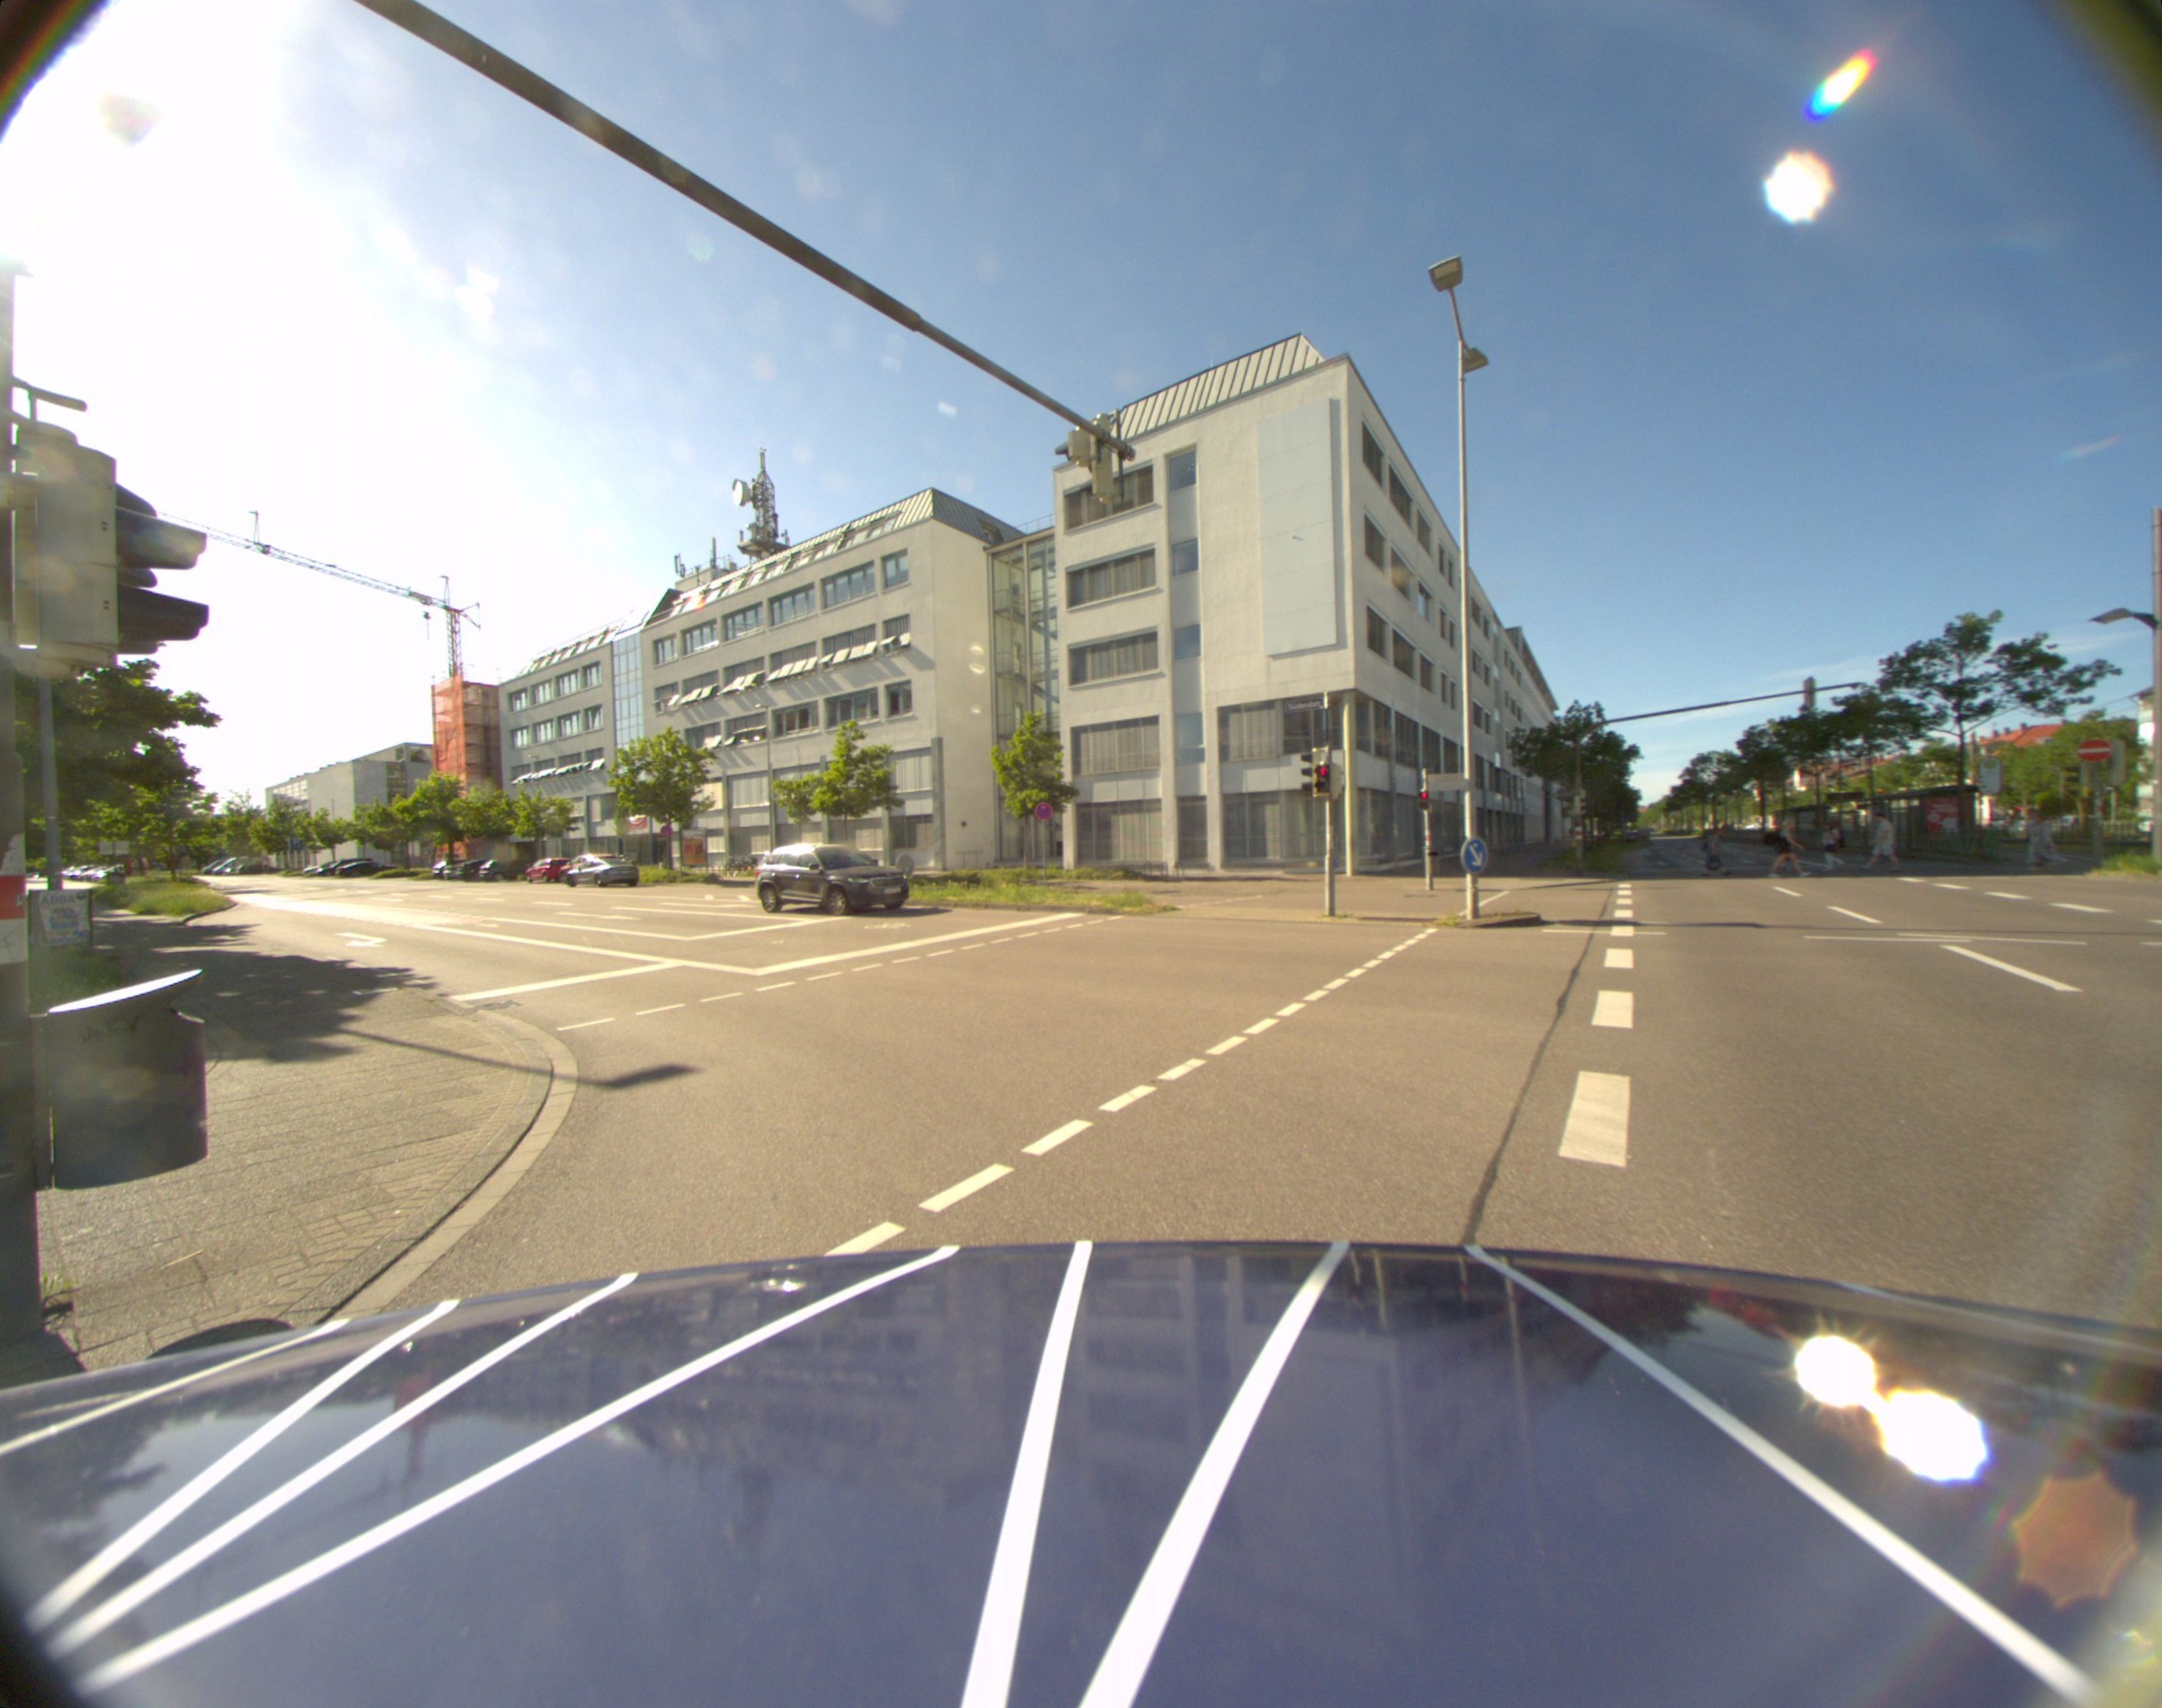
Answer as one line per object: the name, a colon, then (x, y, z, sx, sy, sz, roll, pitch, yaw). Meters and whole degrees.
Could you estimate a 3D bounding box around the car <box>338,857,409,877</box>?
car: (-65.645, 1.194, 70.553, 1.972, 1.424, 4.406, -1, 4, 32)

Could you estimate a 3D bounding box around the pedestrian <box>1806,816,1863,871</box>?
pedestrian: (24.520, -0.336, 24.743, 1.151, 1.717, 0.815, -1, 1, 31)

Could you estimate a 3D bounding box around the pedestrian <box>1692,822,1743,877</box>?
pedestrian: (20.636, -0.140, 24.653, 1.151, 1.717, 0.815, -1, 1, 31)

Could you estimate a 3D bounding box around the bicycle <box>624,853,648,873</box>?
bicycle: (-30.916, 0.641, 52.780, 2.225, 1.339, 0.713, 0, 1, 41)

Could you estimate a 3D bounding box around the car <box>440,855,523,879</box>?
car: (-43.948, 0.926, 55.812, 1.688, 1.424, 4.406, 0, 4, 38)

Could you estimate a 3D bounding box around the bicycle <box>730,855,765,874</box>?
bicycle: (-19.669, 0.622, 44.822, 0.619, 1.063, 1.798, 0, 1, 43)

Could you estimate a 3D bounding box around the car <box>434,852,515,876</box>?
car: (-45.659, 0.737, 57.283, 1.689, 1.424, 4.406, 0, 4, 36)

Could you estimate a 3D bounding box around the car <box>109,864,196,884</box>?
car: (-76.966, 1.621, 63.046, 1.890, 1.454, 4.425, 0, 1, 36)

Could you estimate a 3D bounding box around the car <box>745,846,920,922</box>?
car: (-6.318, 0.688, 19.130, 4.465, 1.619, 1.762, -1, 4, 35)

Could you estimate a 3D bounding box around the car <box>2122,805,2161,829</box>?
car: (84.999, -2.942, 60.030, 1.994, 1.838, 4.007, -1, 1, 34)

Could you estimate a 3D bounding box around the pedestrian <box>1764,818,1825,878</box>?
pedestrian: (20.885, -0.171, 22.272, 1.151, 1.717, 0.815, -1, 1, 31)

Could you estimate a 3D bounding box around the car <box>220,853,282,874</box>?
car: (-118.453, 1.324, 108.512, 2.004, 2.469, 5.596, 0, 4, 38)

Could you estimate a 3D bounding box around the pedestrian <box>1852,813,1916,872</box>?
pedestrian: (24.723, -0.358, 23.425, 1.151, 1.760, 0.925, -1, 1, 31)

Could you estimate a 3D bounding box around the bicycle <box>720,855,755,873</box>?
bicycle: (-20.403, 0.591, 45.124, 0.554, 1.063, 1.776, 0, 1, 43)

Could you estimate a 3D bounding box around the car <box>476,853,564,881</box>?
car: (-38.046, 0.870, 51.619, 1.689, 1.530, 4.406, -1, 4, 31)

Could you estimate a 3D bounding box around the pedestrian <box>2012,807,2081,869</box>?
pedestrian: (27.982, -0.460, 22.026, 1.154, 1.717, 0.812, -2, 1, -13)

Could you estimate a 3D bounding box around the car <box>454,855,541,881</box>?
car: (-40.725, 0.958, 53.103, 1.689, 1.424, 4.406, -1, 4, 33)

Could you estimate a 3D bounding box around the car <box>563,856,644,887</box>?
car: (-24.468, 0.888, 38.877, 4.534, 1.460, 1.697, -1, 1, 33)

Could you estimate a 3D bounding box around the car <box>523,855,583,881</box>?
car: (-32.384, 0.856, 46.570, 3.860, 1.424, 1.696, 0, 4, 36)

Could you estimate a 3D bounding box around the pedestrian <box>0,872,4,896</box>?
pedestrian: (-57.158, 1.578, 39.728, 0.727, 1.210, 0.848, 0, 0, 23)

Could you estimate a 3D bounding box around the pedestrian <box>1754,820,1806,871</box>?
pedestrian: (24.089, -0.294, 26.208, 1.151, 1.717, 0.815, -1, 1, 31)

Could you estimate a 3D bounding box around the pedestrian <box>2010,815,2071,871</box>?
pedestrian: (26.905, -0.296, 21.325, 0.856, 1.525, 0.727, -1, 1, 31)

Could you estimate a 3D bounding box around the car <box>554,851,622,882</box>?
car: (-28.395, 0.717, 43.717, 4.298, 1.598, 1.696, -1, 4, 35)
